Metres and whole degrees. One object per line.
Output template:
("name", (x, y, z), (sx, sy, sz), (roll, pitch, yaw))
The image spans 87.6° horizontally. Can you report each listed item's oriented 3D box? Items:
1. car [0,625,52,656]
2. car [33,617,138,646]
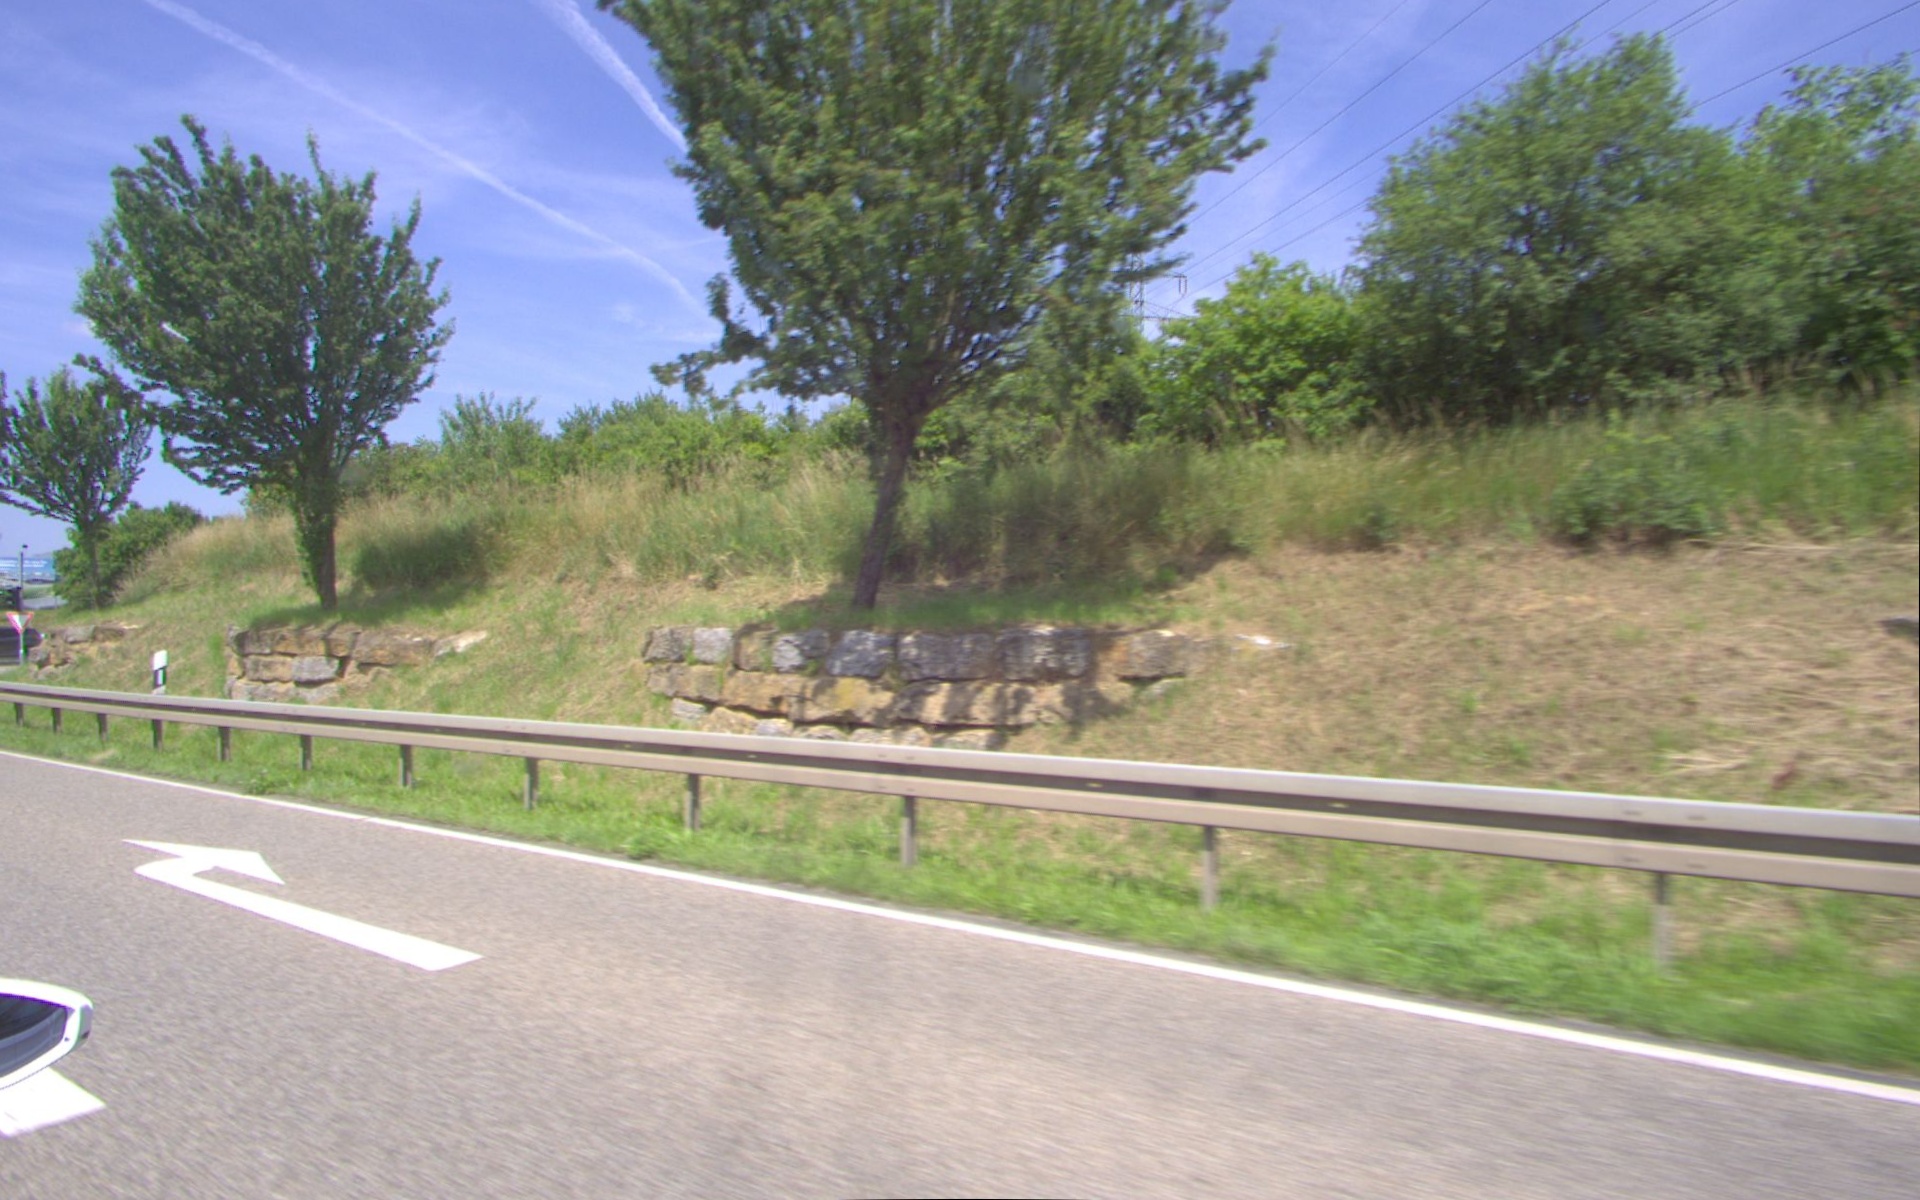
("car", (-48.448, 2.034, 49.991), (1.687, 1.530, 4.362), (-1, -1, 22))
("car", (-51.832, 1.856, 59.423), (1.751, 1.613, 4.359), (-1, -1, 24))
